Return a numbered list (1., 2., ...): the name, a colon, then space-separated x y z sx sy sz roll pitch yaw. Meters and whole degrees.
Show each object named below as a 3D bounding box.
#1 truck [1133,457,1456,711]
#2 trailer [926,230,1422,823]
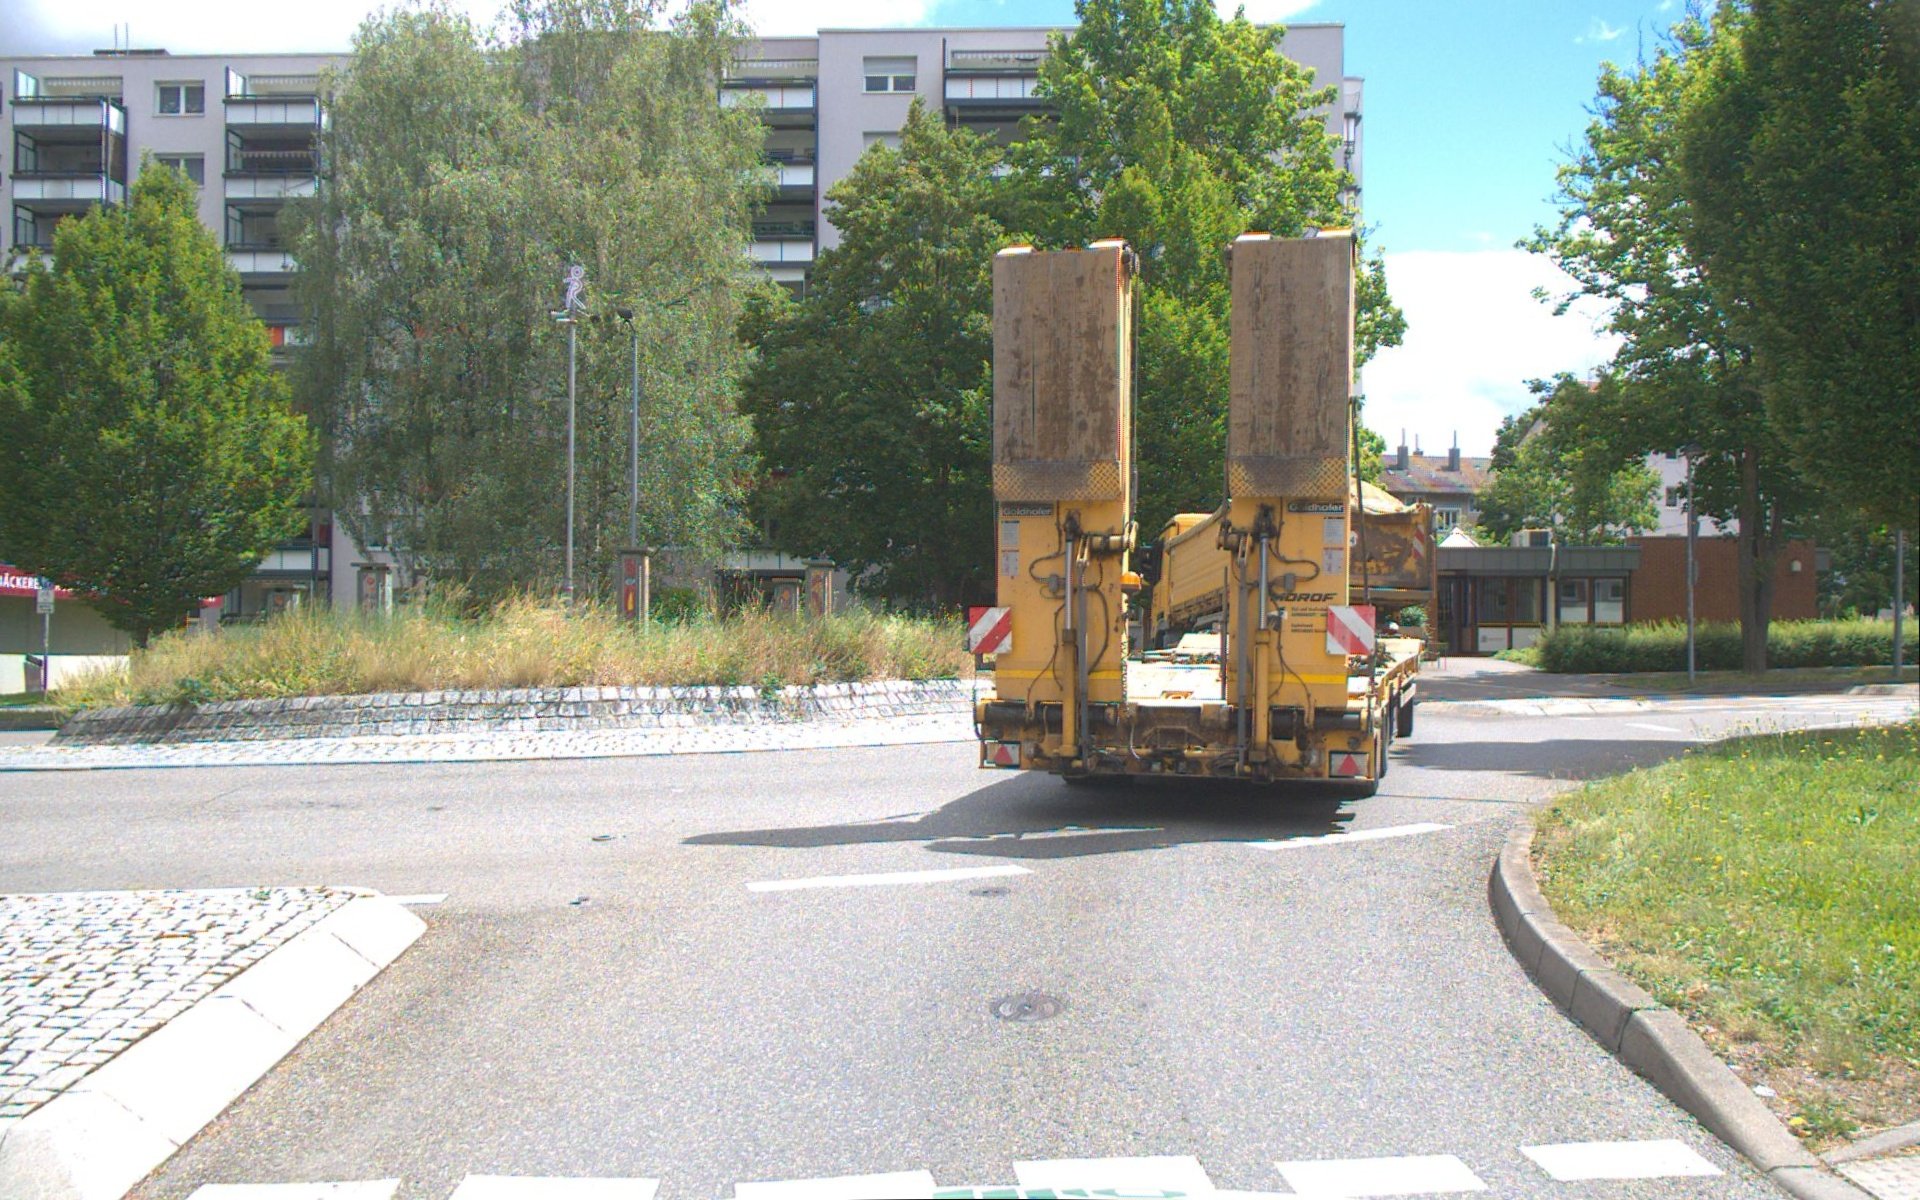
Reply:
1. truck: 4.603 0.011 24.734 2.927 3.088 8.481 1 -3 -1
2. trailer: 2.685 -0.400 15.159 2.803 3.431 10.847 1 0 16
